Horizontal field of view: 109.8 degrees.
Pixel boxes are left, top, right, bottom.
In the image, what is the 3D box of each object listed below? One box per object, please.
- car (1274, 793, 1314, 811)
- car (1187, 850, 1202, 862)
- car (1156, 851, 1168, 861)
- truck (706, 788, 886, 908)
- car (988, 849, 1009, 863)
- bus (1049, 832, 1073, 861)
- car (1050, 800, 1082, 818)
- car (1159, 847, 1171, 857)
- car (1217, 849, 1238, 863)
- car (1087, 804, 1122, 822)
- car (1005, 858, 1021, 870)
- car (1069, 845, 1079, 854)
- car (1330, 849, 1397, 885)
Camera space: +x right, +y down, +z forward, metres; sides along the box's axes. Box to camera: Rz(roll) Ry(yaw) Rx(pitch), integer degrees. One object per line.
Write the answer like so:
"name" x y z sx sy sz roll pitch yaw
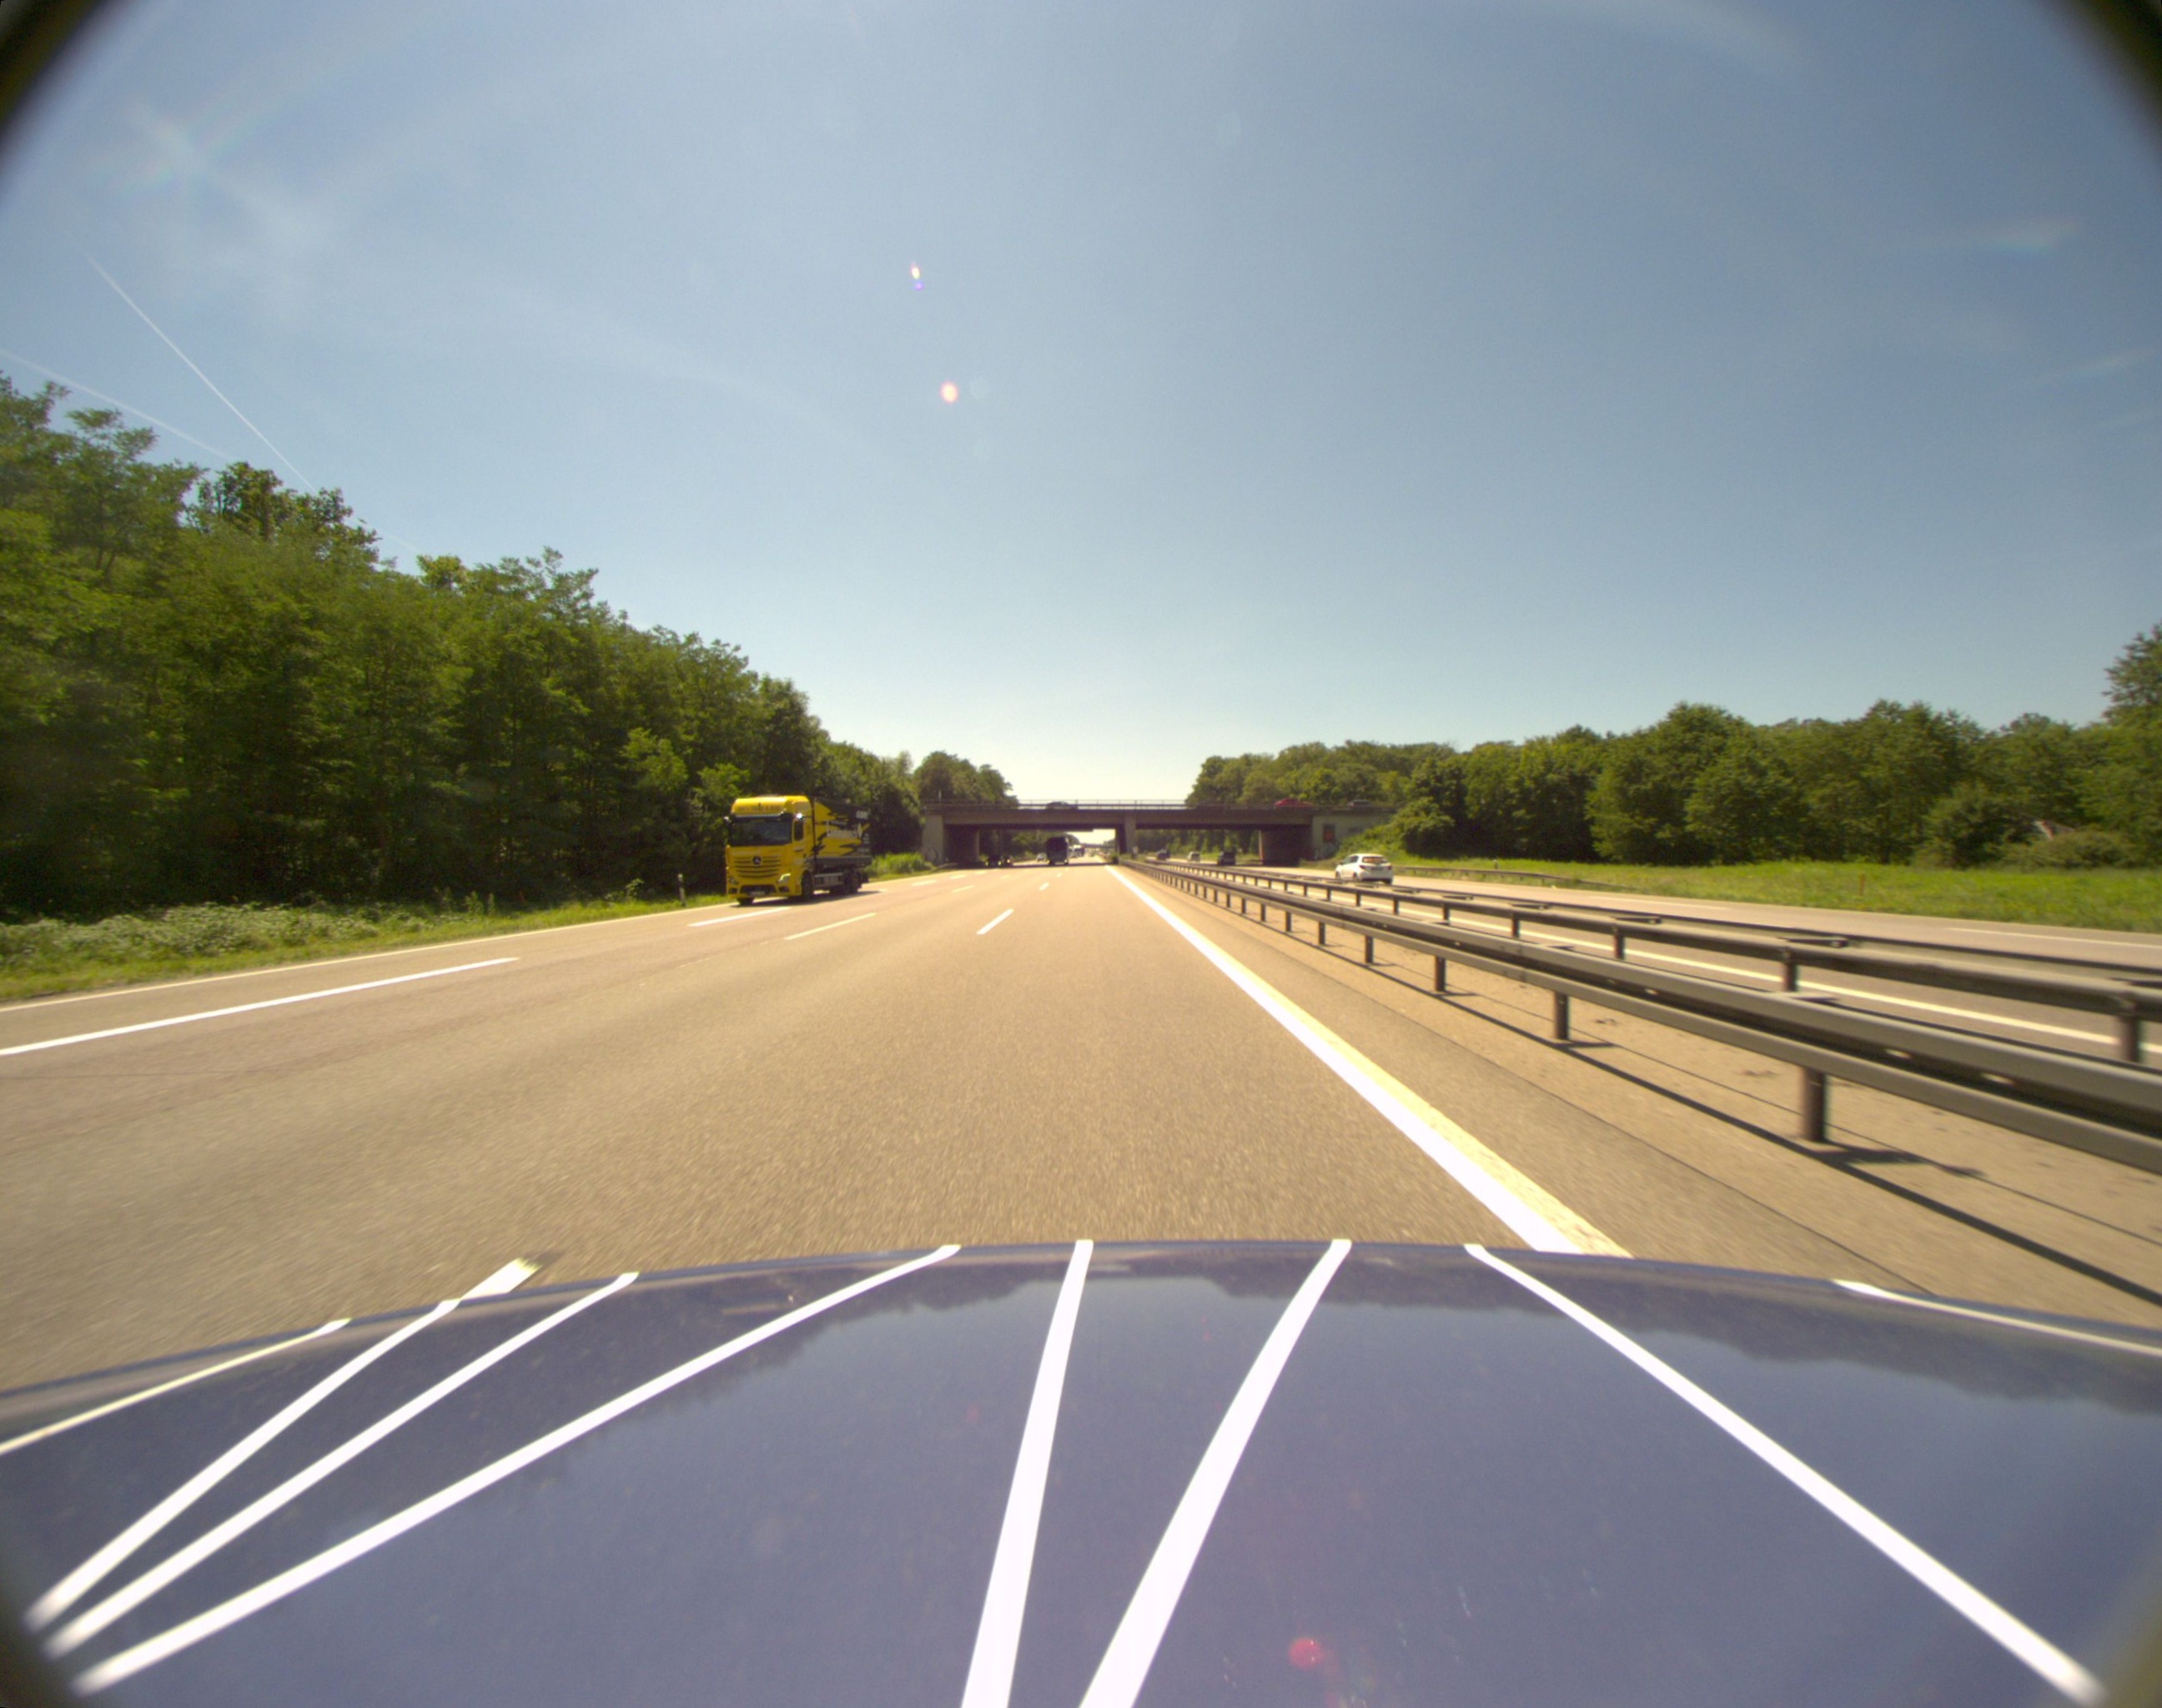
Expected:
"car" 25.431 -6.199 90.659 4.156 2.002 1.999 -2 1 -2
"car" 18.553 0.280 124.649 1.744 1.795 4.934 1 1 1
"car" 14.773 0.412 138.533 1.744 1.709 4.639 1 1 1
"truck" -11.343 -0.269 31.942 2.982 4.013 10.981 -3 1 1
"car" -9.623 0.176 88.430 1.875 1.547 4.201 -2 1 1
"bus" -2.621 -0.958 102.059 2.617 3.532 13.681 -2 1 1
"car" -1.974 -5.731 96.863 3.998 2.002 1.999 -2 1 -2
"car" 20.150 -0.546 182.188 2.094 2.385 5.733 -2 1 0
"car" 18.940 0.218 98.422 1.745 1.753 5.085 0 1 -1
"car" 2.774 -4.857 89.985 3.998 2.002 1.999 -2 1 -2
"car" -9.078 1.292 101.699 1.674 1.439 4.573 -2 1 1
"car" -1.830 -1.239 200.316 2.616 2.389 7.122 -2 1 0
"car" 13.620 0.583 36.861 1.692 1.535 4.204 -2 1 1
